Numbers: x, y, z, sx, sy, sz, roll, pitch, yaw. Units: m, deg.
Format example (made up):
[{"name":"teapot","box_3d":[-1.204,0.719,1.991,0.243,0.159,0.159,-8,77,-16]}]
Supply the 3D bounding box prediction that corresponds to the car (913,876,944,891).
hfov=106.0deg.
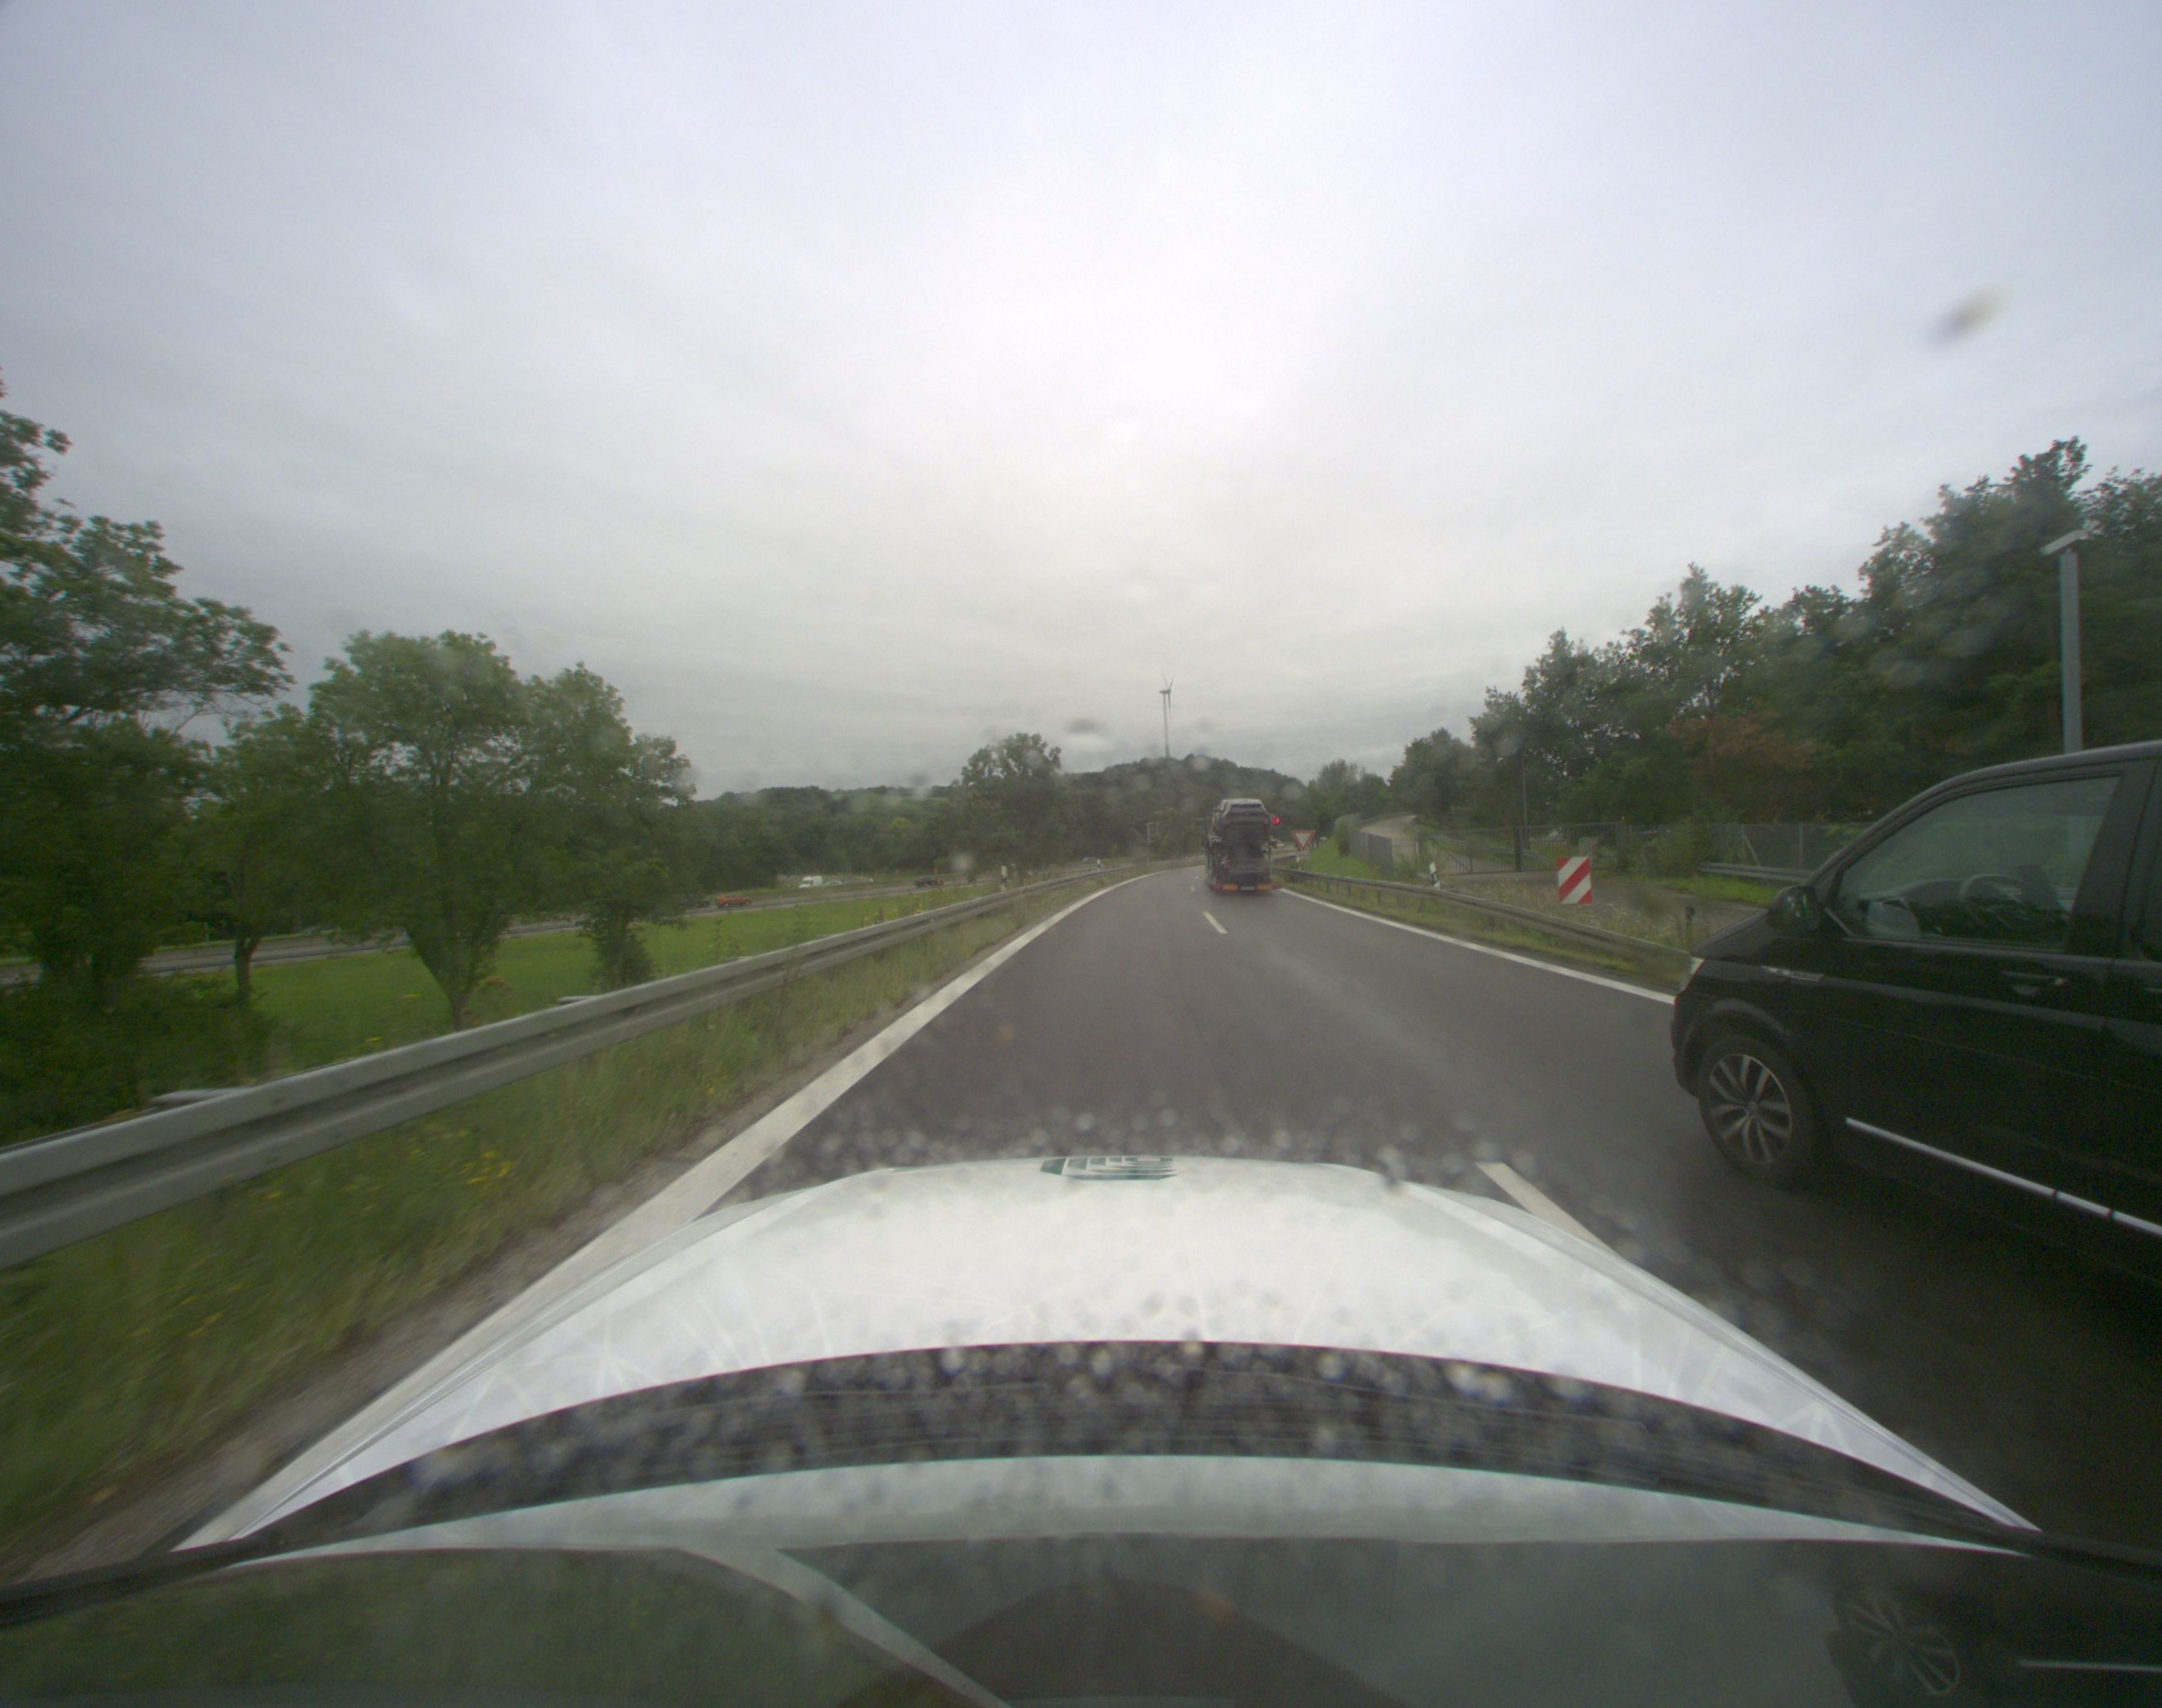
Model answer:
[{"name":"car","box_3d":[-22.792,4.439,121.499,1.974,1.716,4.026,-8,-1,43]}]

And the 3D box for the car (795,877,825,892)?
[{"name":"car","box_3d":[-48.412,5.425,145.695,2.006,2.102,5.985,-6,0,13]}]

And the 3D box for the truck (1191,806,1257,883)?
[{"name":"truck","box_3d":[8.138,-0.468,47.720,3.376,4.000,10.869,0,0,7]}]

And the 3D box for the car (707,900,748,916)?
[{"name":"car","box_3d":[-42.685,6.501,98.361,1.907,1.277,4.026,-8,-1,43]}]

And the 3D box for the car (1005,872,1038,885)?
[{"name":"car","box_3d":[-9.532,3.940,130.838,1.975,1.717,5.356,-3,-1,43]}]

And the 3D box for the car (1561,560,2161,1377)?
[{"name":"car","box_3d":[4.046,0.317,2.202,2.103,2.264,5.897,0,0,1]}]

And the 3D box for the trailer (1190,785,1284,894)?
[{"name":"trailer","box_3d":[6.587,-0.505,36.209,3.430,4.000,12.051,0,0,7]}]
